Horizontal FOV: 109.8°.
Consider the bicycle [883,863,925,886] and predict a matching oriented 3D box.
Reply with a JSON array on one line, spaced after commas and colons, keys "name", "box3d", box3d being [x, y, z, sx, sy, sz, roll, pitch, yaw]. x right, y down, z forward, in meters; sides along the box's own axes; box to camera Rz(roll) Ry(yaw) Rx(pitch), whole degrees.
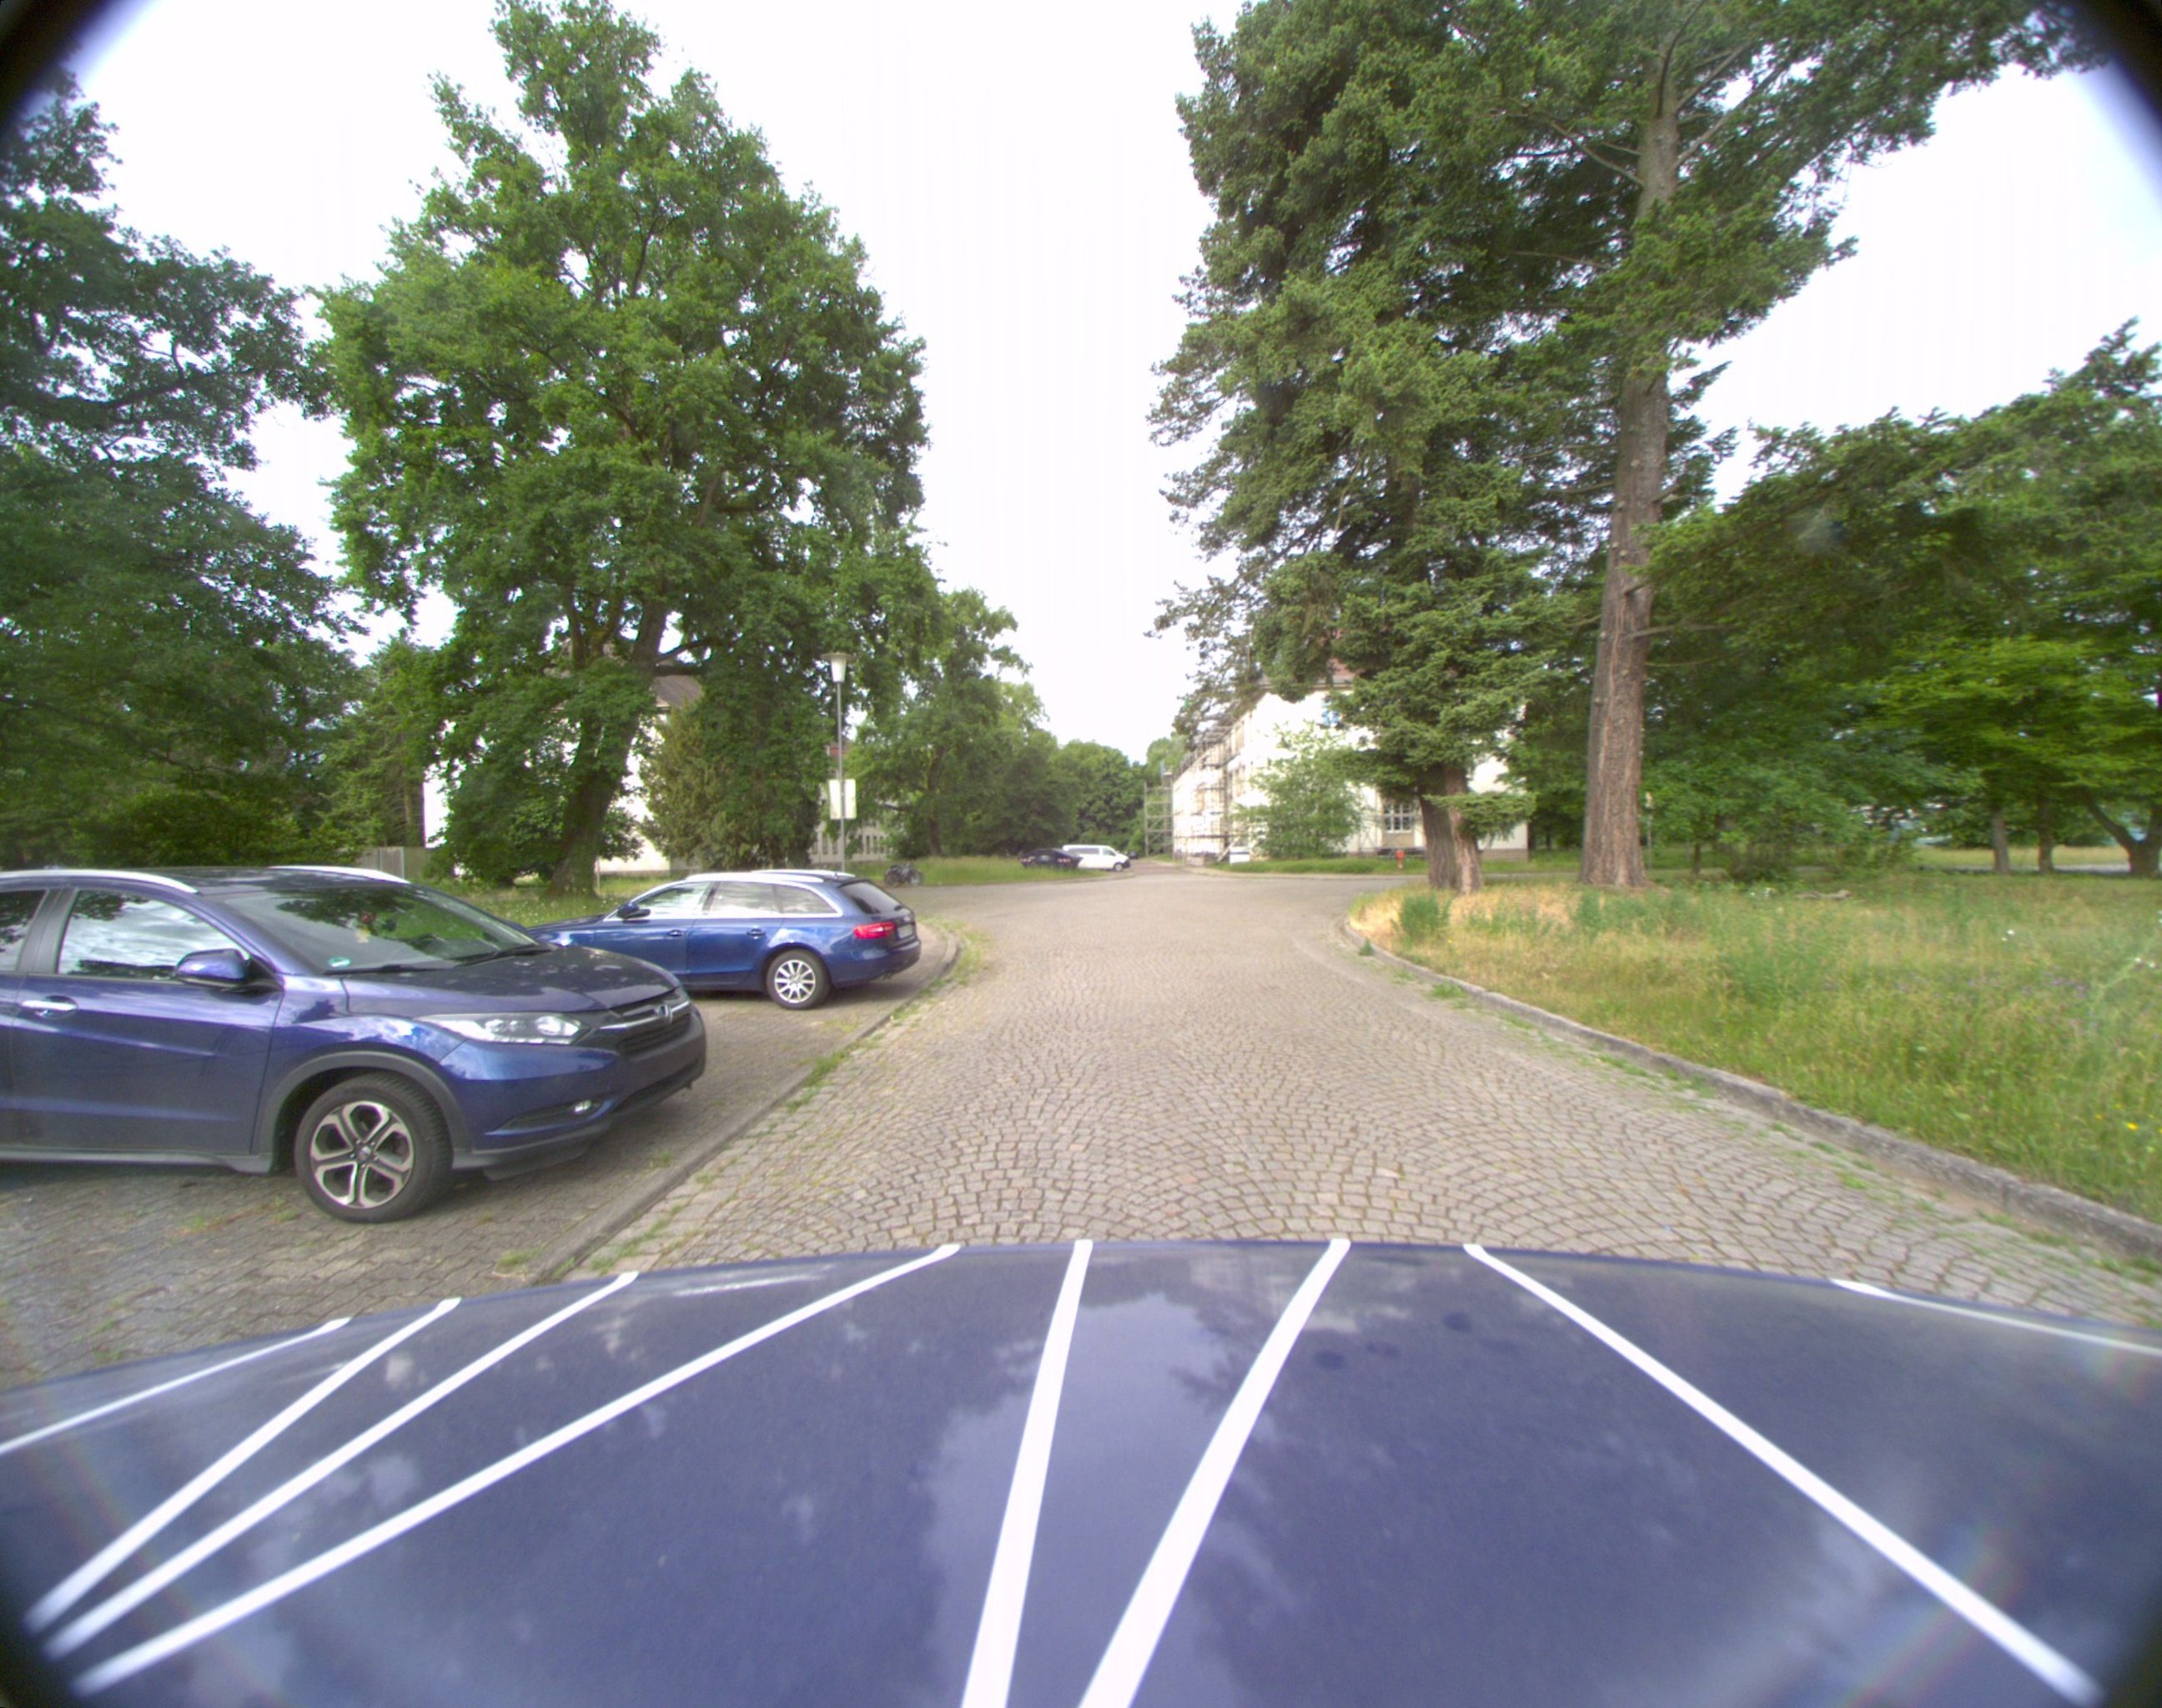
[{"name": "bicycle", "box3d": [-9.086, 1.021, 39.035, 1.976, 1.070, 0.587, -3, 1, -26]}]

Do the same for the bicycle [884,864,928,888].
[{"name": "bicycle", "box3d": [-8.607, 1.058, 37.444, 1.976, 1.070, 0.587, -3, 1, -26]}]

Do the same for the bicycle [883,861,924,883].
[{"name": "bicycle", "box3d": [-9.614, 0.964, 41.152, 2.032, 1.070, 0.620, -3, 1, -22]}]

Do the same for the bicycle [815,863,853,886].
[{"name": "bicycle", "box3d": [-13.016, 1.087, 40.040, 1.859, 1.116, 0.620, -3, 1, -22]}]

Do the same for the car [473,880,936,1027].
[{"name": "car", "box3d": [-4.118, 1.053, 8.772, 4.479, 1.413, 1.785, 0, 1, 4]}]

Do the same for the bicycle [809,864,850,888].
[{"name": "bicycle", "box3d": [-12.697, 1.097, 38.373, 1.859, 1.116, 0.620, -3, 1, -22]}]

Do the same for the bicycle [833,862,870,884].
[{"name": "bicycle", "box3d": [-12.760, 1.035, 42.254, 1.859, 1.116, 0.620, -3, 1, -22]}]

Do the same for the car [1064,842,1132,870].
[{"name": "car", "box3d": [1.279, 0.142, 57.505, 5.100, 2.007, 2.054, 0, 1, 0]}]

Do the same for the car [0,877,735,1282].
[{"name": "car", "box3d": [-4.383, 1.004, 4.077, 4.172, 1.563, 1.793, -1, 2, 1]}]

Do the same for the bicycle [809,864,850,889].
[{"name": "bicycle", "box3d": [-12.510, 1.098, 37.758, 1.859, 1.116, 0.620, -3, 1, -22]}]
